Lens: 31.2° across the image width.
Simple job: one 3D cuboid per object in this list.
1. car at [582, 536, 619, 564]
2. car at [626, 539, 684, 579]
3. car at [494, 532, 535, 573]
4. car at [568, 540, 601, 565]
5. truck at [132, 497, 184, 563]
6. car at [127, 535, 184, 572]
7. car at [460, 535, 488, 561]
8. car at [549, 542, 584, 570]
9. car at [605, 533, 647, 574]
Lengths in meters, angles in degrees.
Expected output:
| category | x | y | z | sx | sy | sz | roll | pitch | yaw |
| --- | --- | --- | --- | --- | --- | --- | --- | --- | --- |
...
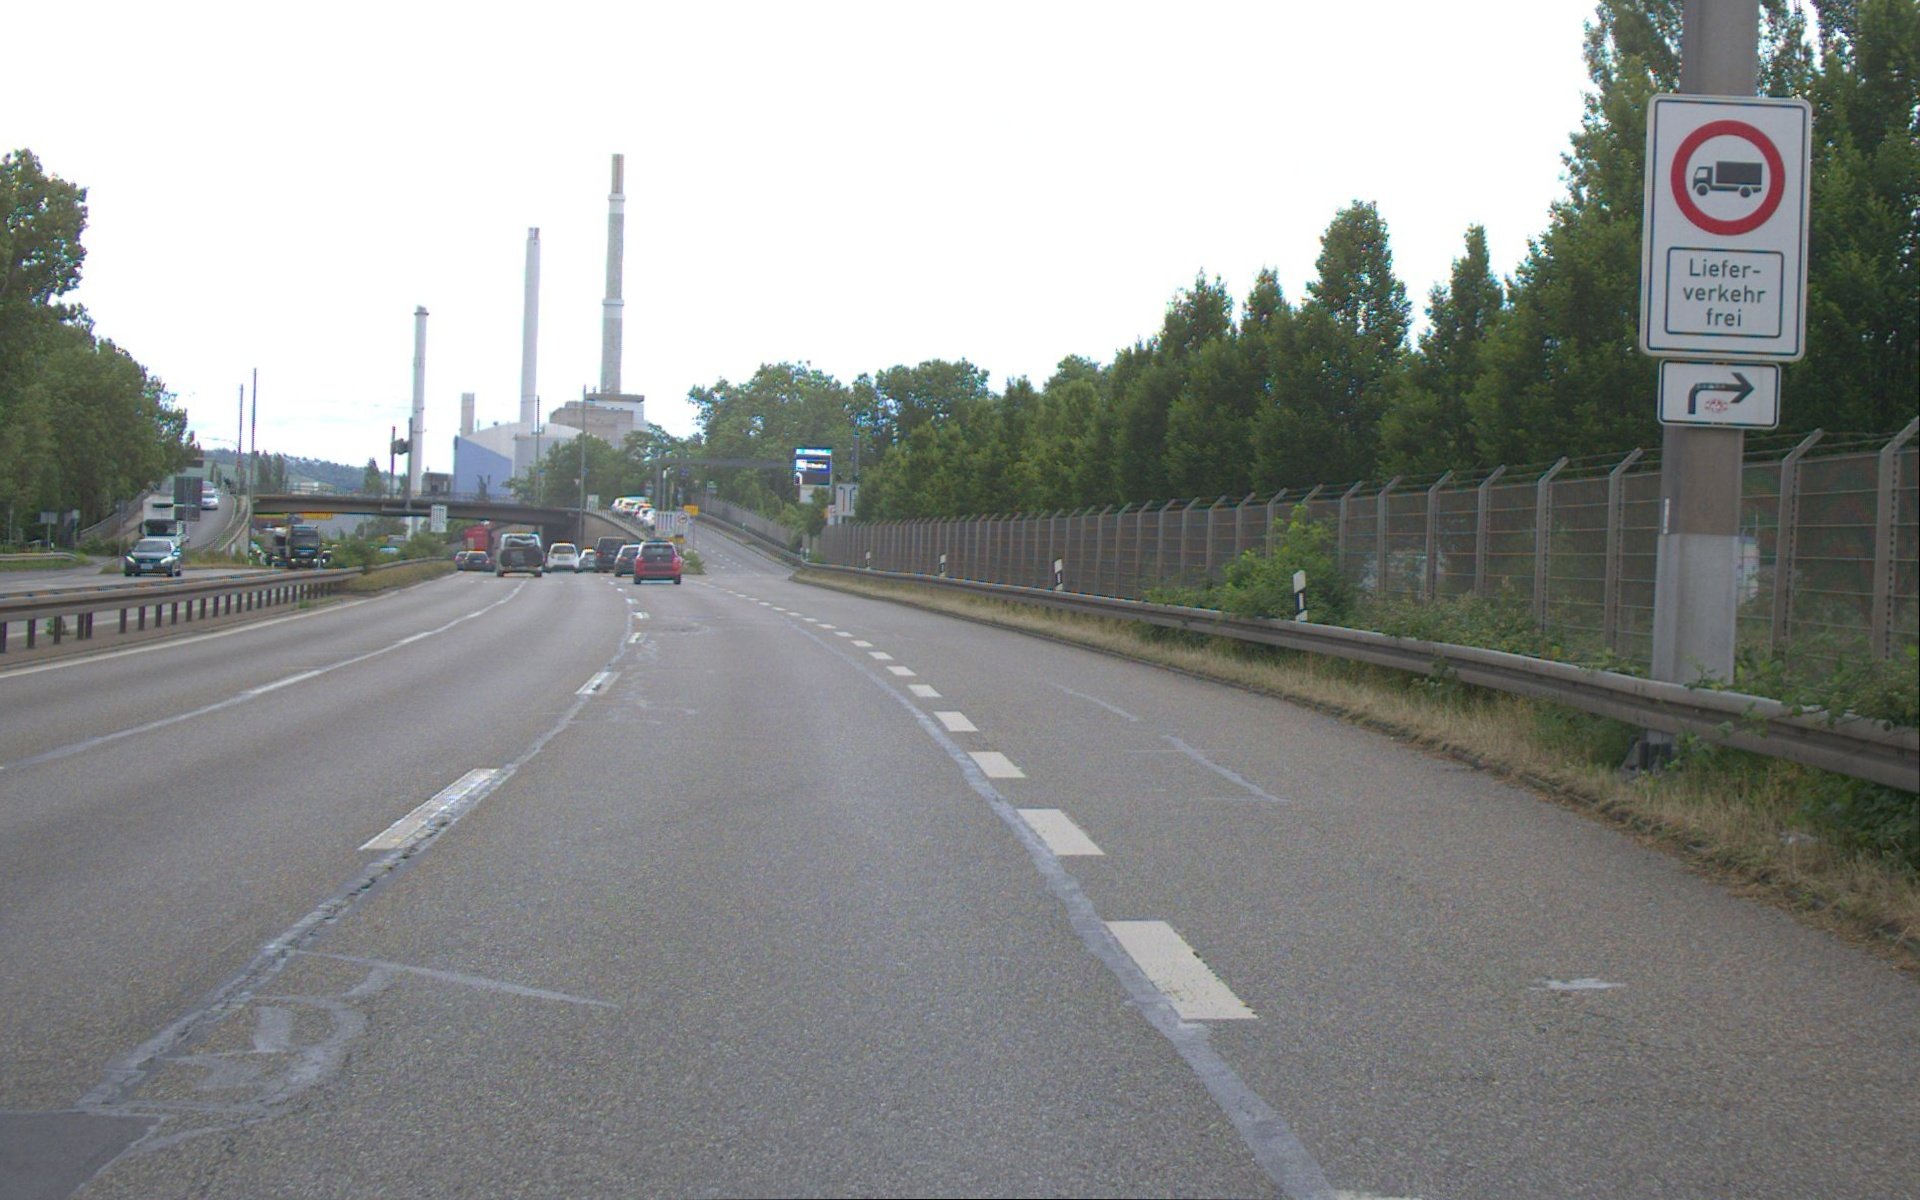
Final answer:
| category | x | y | z | sx | sy | sz | roll | pitch | yaw |
| --- | --- | --- | --- | --- | --- | --- | --- | --- | --- |
| car | -19.992 | -2.786 | 191.021 | 1.697 | 1.550 | 4.399 | 1 | 1 | -11 |
| car | -11.170 | -1.518 | 125.716 | 1.974 | 1.418 | 4.902 | 1 | 1 | -7 |
| car | -19.246 | -2.072 | 148.594 | 1.697 | 1.736 | 4.001 | 1 | 1 | -7 |
| car | -23.493 | -2.974 | 214.814 | 1.697 | 1.550 | 4.399 | 1 | 1 | -11 |
| truck | -53.239 | -4.684 | 228.554 | 2.887 | 4.151 | 14.664 | 3 | 1 | -12 |
| car | -30.897 | -1.805 | 132.188 | 1.697 | 1.408 | 4.639 | 0 | 1 | -8 |
| car | -33.207 | -3.543 | 234.860 | 1.697 | 1.736 | 4.394 | 0 | 1 | -11 |
| car | -20.186 | -2.256 | 176.127 | 1.697 | 1.385 | 4.399 | 1 | 1 | -8 |
| car | -14.819 | -2.068 | 152.487 | 1.697 | 1.736 | 4.394 | 1 | 1 | -8 |
